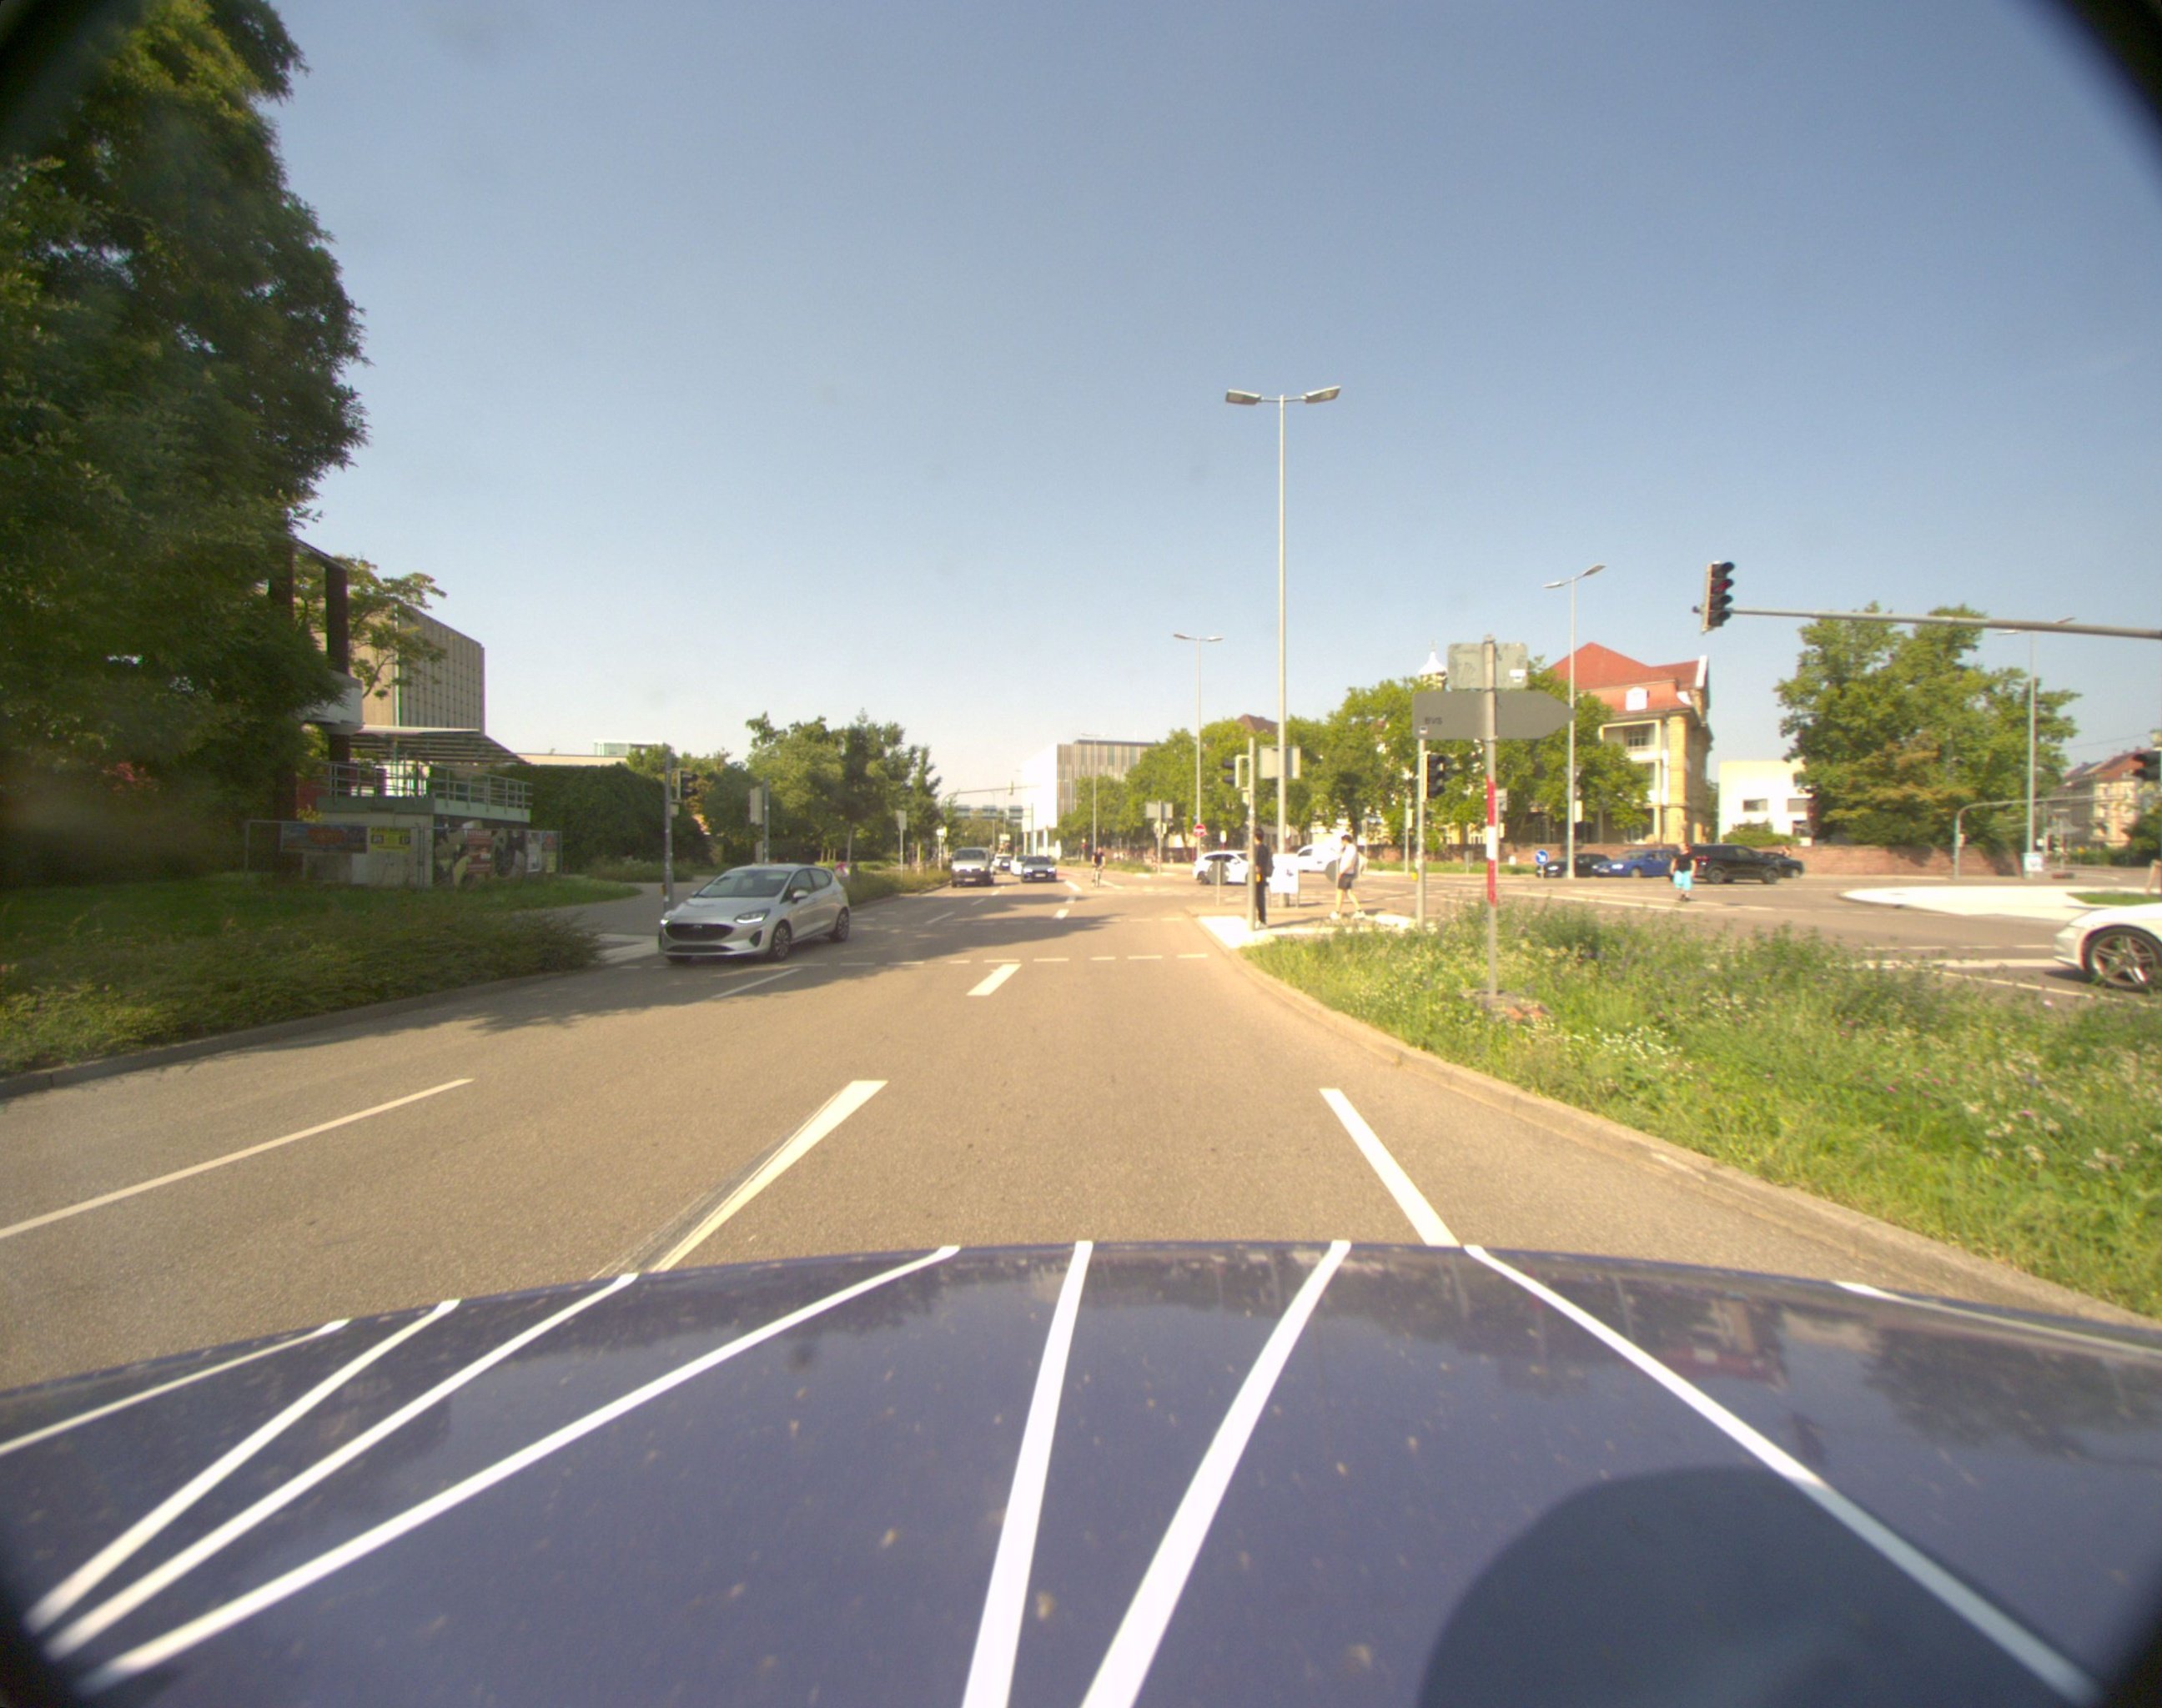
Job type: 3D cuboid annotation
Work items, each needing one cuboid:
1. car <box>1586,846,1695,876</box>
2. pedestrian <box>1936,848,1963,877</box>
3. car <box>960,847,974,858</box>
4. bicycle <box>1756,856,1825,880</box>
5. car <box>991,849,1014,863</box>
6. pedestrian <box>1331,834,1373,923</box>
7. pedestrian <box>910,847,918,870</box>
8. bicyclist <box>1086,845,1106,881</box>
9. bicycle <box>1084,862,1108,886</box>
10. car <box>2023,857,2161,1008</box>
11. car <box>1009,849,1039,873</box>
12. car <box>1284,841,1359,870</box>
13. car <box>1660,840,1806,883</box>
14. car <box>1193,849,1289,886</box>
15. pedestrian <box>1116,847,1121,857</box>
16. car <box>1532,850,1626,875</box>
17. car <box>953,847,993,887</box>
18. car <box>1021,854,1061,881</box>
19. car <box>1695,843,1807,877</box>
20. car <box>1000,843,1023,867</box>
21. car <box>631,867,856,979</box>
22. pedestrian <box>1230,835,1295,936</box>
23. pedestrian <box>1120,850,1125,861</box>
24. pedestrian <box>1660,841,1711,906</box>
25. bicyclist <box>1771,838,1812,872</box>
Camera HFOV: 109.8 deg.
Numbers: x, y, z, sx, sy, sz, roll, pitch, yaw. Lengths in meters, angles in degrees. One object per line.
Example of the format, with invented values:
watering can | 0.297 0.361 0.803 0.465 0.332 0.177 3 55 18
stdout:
car | 25.394 0.296 34.500 4.335 1.321 1.605 0 1 -14
pedestrian | 61.588 0.602 53.908 0.907 2.001 0.822 0 -2 1
car | -17.794 -0.246 118.438 1.832 1.674 3.995 0 1 -12
bicycle | 36.597 0.720 39.206 3.078 1.197 0.887 0 -2 -9
car | -8.216 0.194 79.133 1.933 1.497 4.290 0 0 -12
pedestrian | 5.657 0.496 15.887 0.694 1.822 0.571 0 1 6
pedestrian | -13.398 0.333 60.913 0.624 1.835 0.640 0 1 -11
bicyclist | 0.675 0.391 34.265 0.749 1.626 0.875 0 1 -9
bicycle | 0.665 0.883 34.297 0.770 1.046 1.773 0 1 -9
car | 10.950 0.775 5.759 1.846 1.354 4.819 -2 1 4
car | -4.073 0.493 53.912 1.829 1.586 3.827 0 -2 -9
car | 14.655 0.123 46.419 3.989 1.667 1.761 -1 -2 44
car | 25.274 0.265 29.492 4.716 1.569 1.851 0 1 -13
car | 6.700 0.522 32.220 1.719 1.428 3.854 -1 1 -35
pedestrian | 5.823 -0.253 116.946 0.536 1.562 0.501 -1 1 -32
car | 26.766 0.442 40.899 4.001 1.259 1.998 0 1 -12
car | -5.380 0.588 38.365 1.847 1.864 4.970 -1 1 -7
car | -2.258 0.691 42.116 1.911 1.392 4.917 0 0 -7
car | 31.560 0.276 35.824 4.001 1.543 1.997 0 1 -13
car | -6.330 0.127 69.380 1.750 2.001 3.747 0 -2 -10
car | -5.236 0.989 12.422 1.719 1.425 3.861 -2 0 4
pedestrian | 3.369 0.566 14.167 1.081 1.829 0.730 0 1 6
pedestrian | 6.269 0.196 115.211 0.484 1.641 0.593 1 -2 -30
pedestrian | 14.988 0.457 18.843 0.668 1.556 0.752 -1 2 -30
bicyclist | 36.676 0.071 39.230 1.369 1.735 0.887 0 -2 -9
